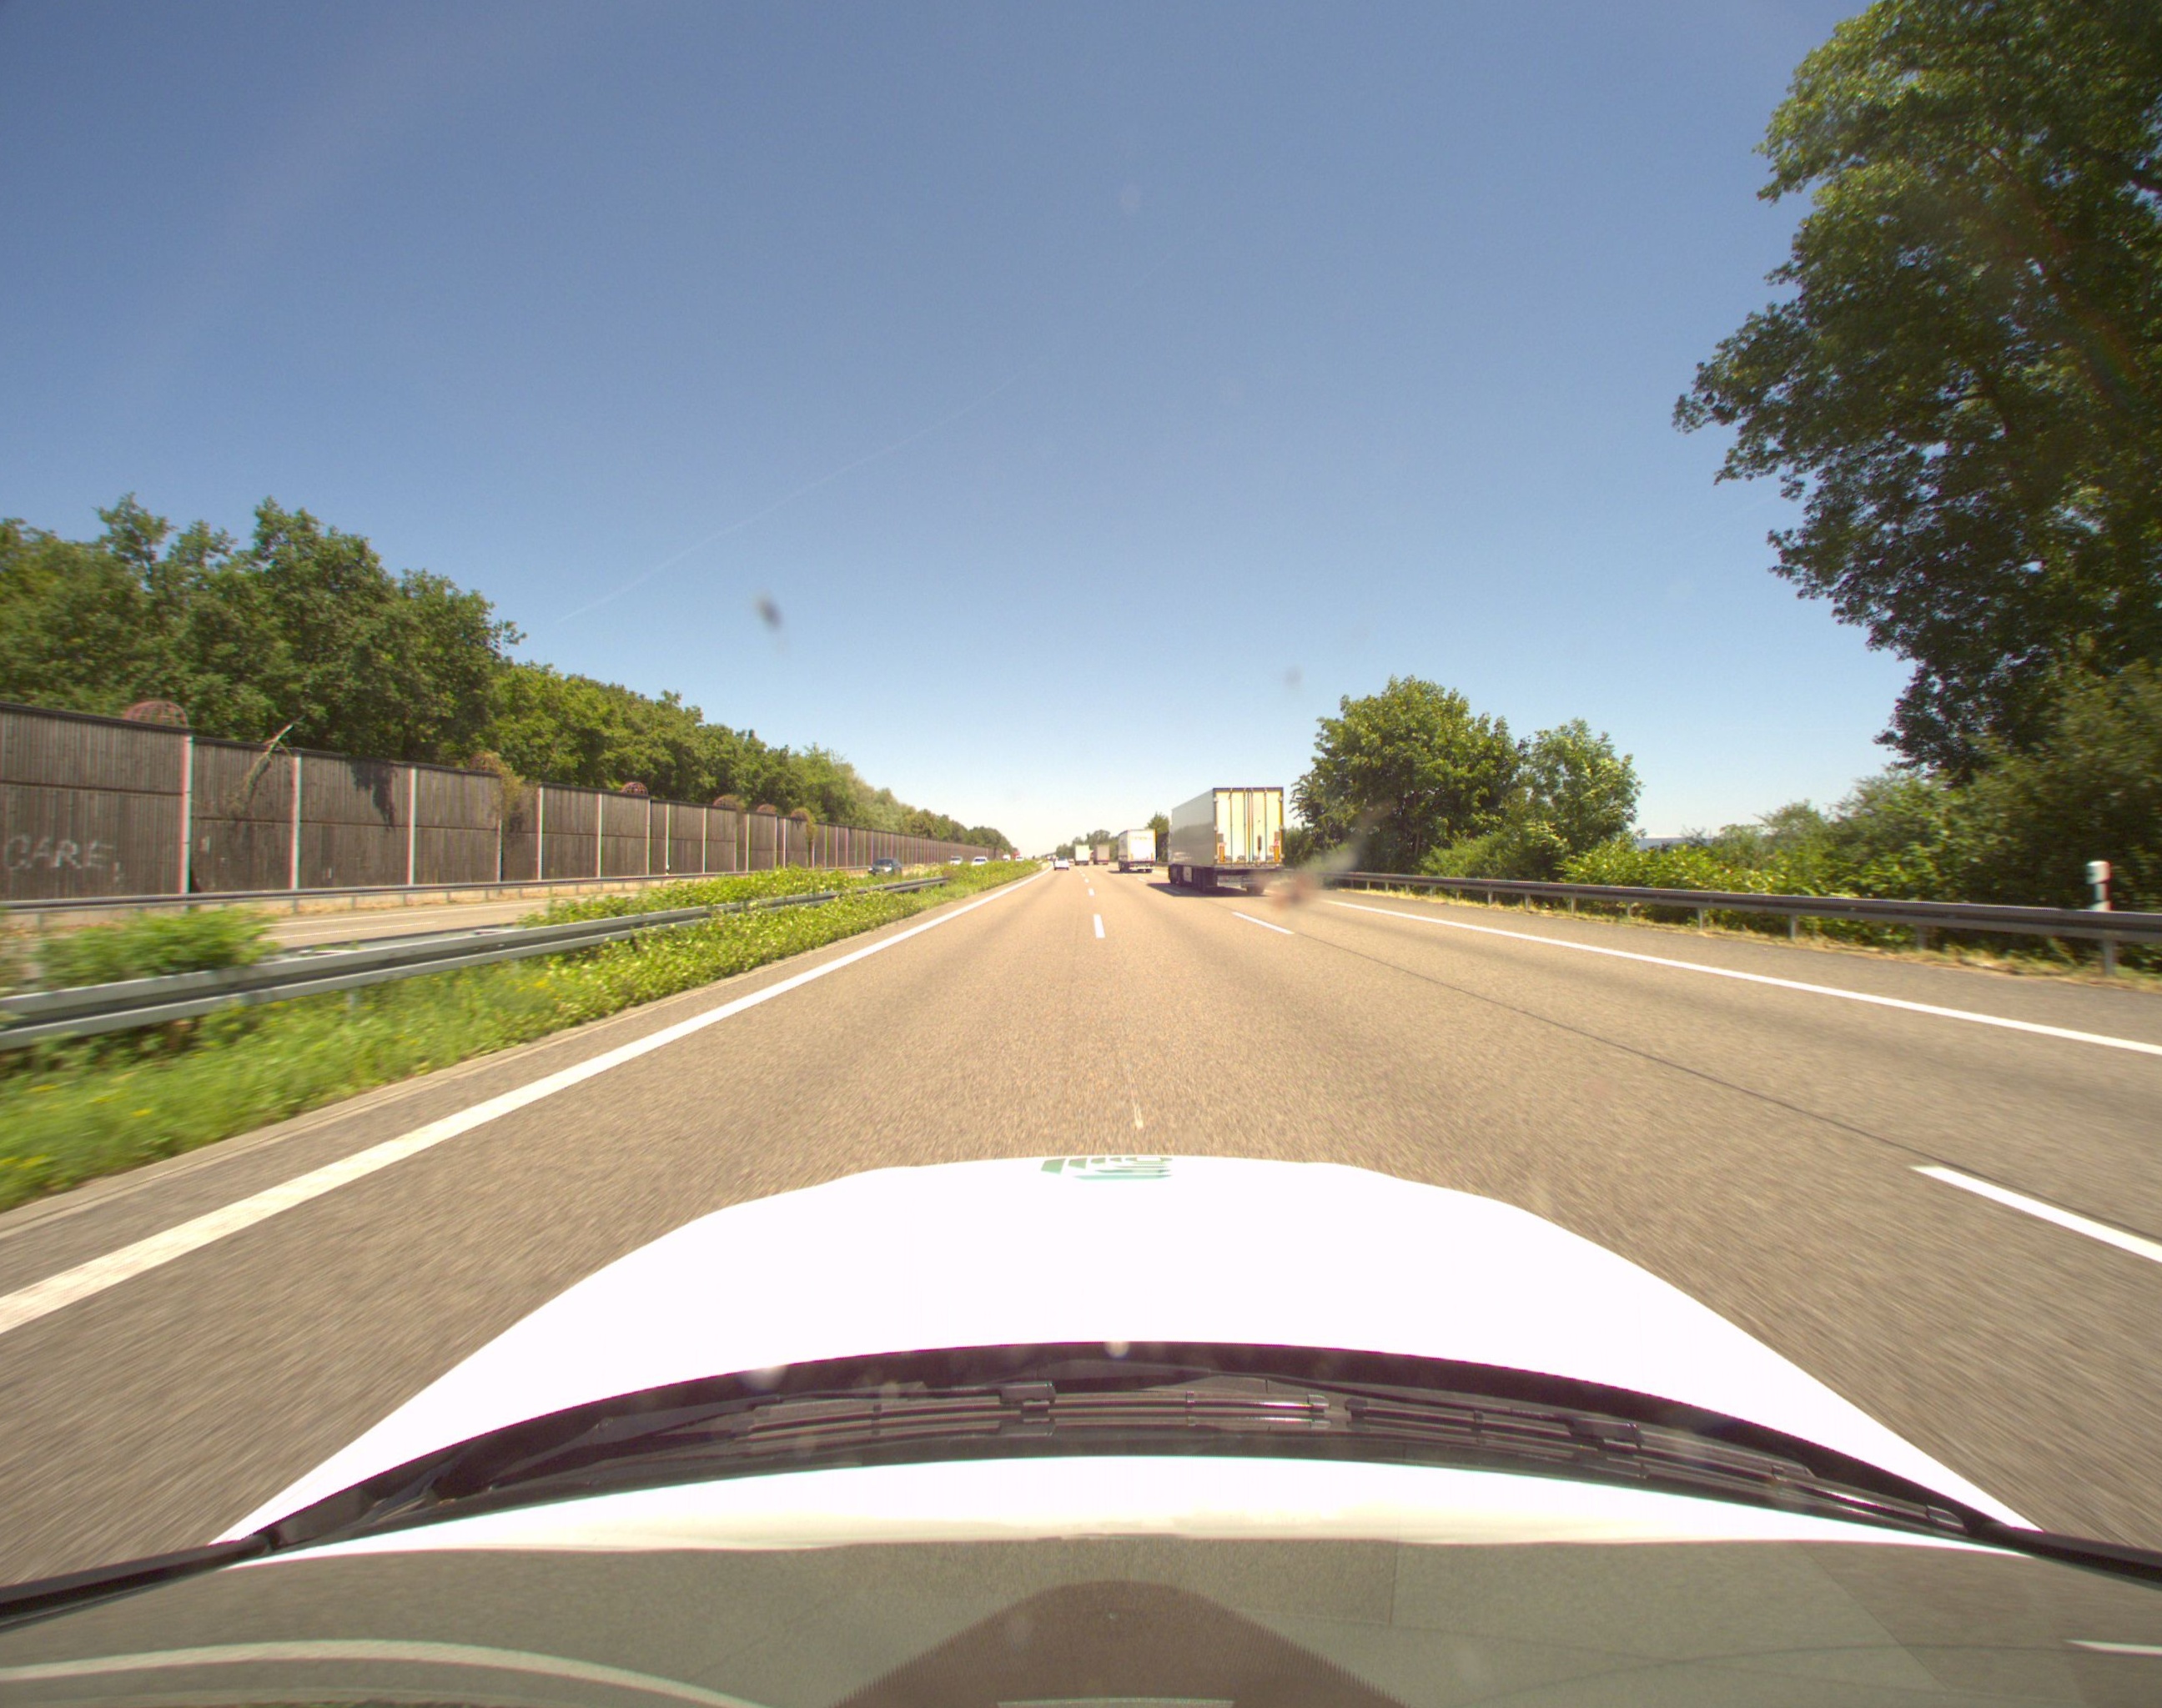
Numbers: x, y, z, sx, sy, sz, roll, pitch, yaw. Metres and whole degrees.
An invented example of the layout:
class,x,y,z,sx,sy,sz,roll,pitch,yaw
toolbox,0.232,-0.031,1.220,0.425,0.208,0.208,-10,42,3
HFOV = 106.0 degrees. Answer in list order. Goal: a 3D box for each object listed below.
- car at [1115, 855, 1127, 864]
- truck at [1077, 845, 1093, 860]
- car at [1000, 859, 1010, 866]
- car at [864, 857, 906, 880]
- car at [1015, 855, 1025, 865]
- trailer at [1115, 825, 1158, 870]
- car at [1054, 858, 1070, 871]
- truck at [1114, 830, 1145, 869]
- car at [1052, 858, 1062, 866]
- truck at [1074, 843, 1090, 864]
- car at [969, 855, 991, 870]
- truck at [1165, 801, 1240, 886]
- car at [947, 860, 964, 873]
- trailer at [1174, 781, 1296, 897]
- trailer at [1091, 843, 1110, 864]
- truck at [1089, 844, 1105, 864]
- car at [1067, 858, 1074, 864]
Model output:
class,x,y,z,sx,sy,sz,roll,pitch,yaw
car,7.495,1.103,153.507,1.850,1.617,3.996,-1,-1,-2
truck,1.137,-0.375,246.542,3.370,4.304,11.425,3,-1,-6
car,-17.703,2.014,189.028,1.988,1.643,5.582,-1,0,-2
car,-14.692,1.039,61.306,1.987,1.647,4.691,-1,0,0
car,-13.681,1.338,183.620,1.988,2.014,5.342,-1,0,-2
trailer,5.407,-0.527,81.749,2.701,4.088,14.136,0,-1,-3
car,-2.338,1.268,100.945,1.850,1.486,3.997,-1,-1,-1
truck,5.161,-0.460,88.089,2.700,4.088,6.959,0,-1,-2
car,-4.662,1.523,161.881,1.849,1.617,3.999,-1,-1,0
truck,0.143,0.002,160.278,2.699,4.086,13.464,0,-1,-2
car,-11.682,1.006,94.470,1.988,1.647,5.042,-1,0,-1
truck,6.241,-0.517,42.792,2.949,4.106,6.206,-1,0,0
car,-20.411,1.983,132.587,1.987,2.014,5.384,-1,0,0
trailer,6.217,-0.506,35.404,2.949,4.106,12.531,-1,0,0
trailer,3.985,-0.026,172.637,2.698,4.216,13.190,0,-1,-4
truck,3.525,0.054,178.781,2.686,4.216,7.825,0,-1,-4
car,-2.899,1.790,221.586,1.849,1.617,3.999,-1,-1,0
